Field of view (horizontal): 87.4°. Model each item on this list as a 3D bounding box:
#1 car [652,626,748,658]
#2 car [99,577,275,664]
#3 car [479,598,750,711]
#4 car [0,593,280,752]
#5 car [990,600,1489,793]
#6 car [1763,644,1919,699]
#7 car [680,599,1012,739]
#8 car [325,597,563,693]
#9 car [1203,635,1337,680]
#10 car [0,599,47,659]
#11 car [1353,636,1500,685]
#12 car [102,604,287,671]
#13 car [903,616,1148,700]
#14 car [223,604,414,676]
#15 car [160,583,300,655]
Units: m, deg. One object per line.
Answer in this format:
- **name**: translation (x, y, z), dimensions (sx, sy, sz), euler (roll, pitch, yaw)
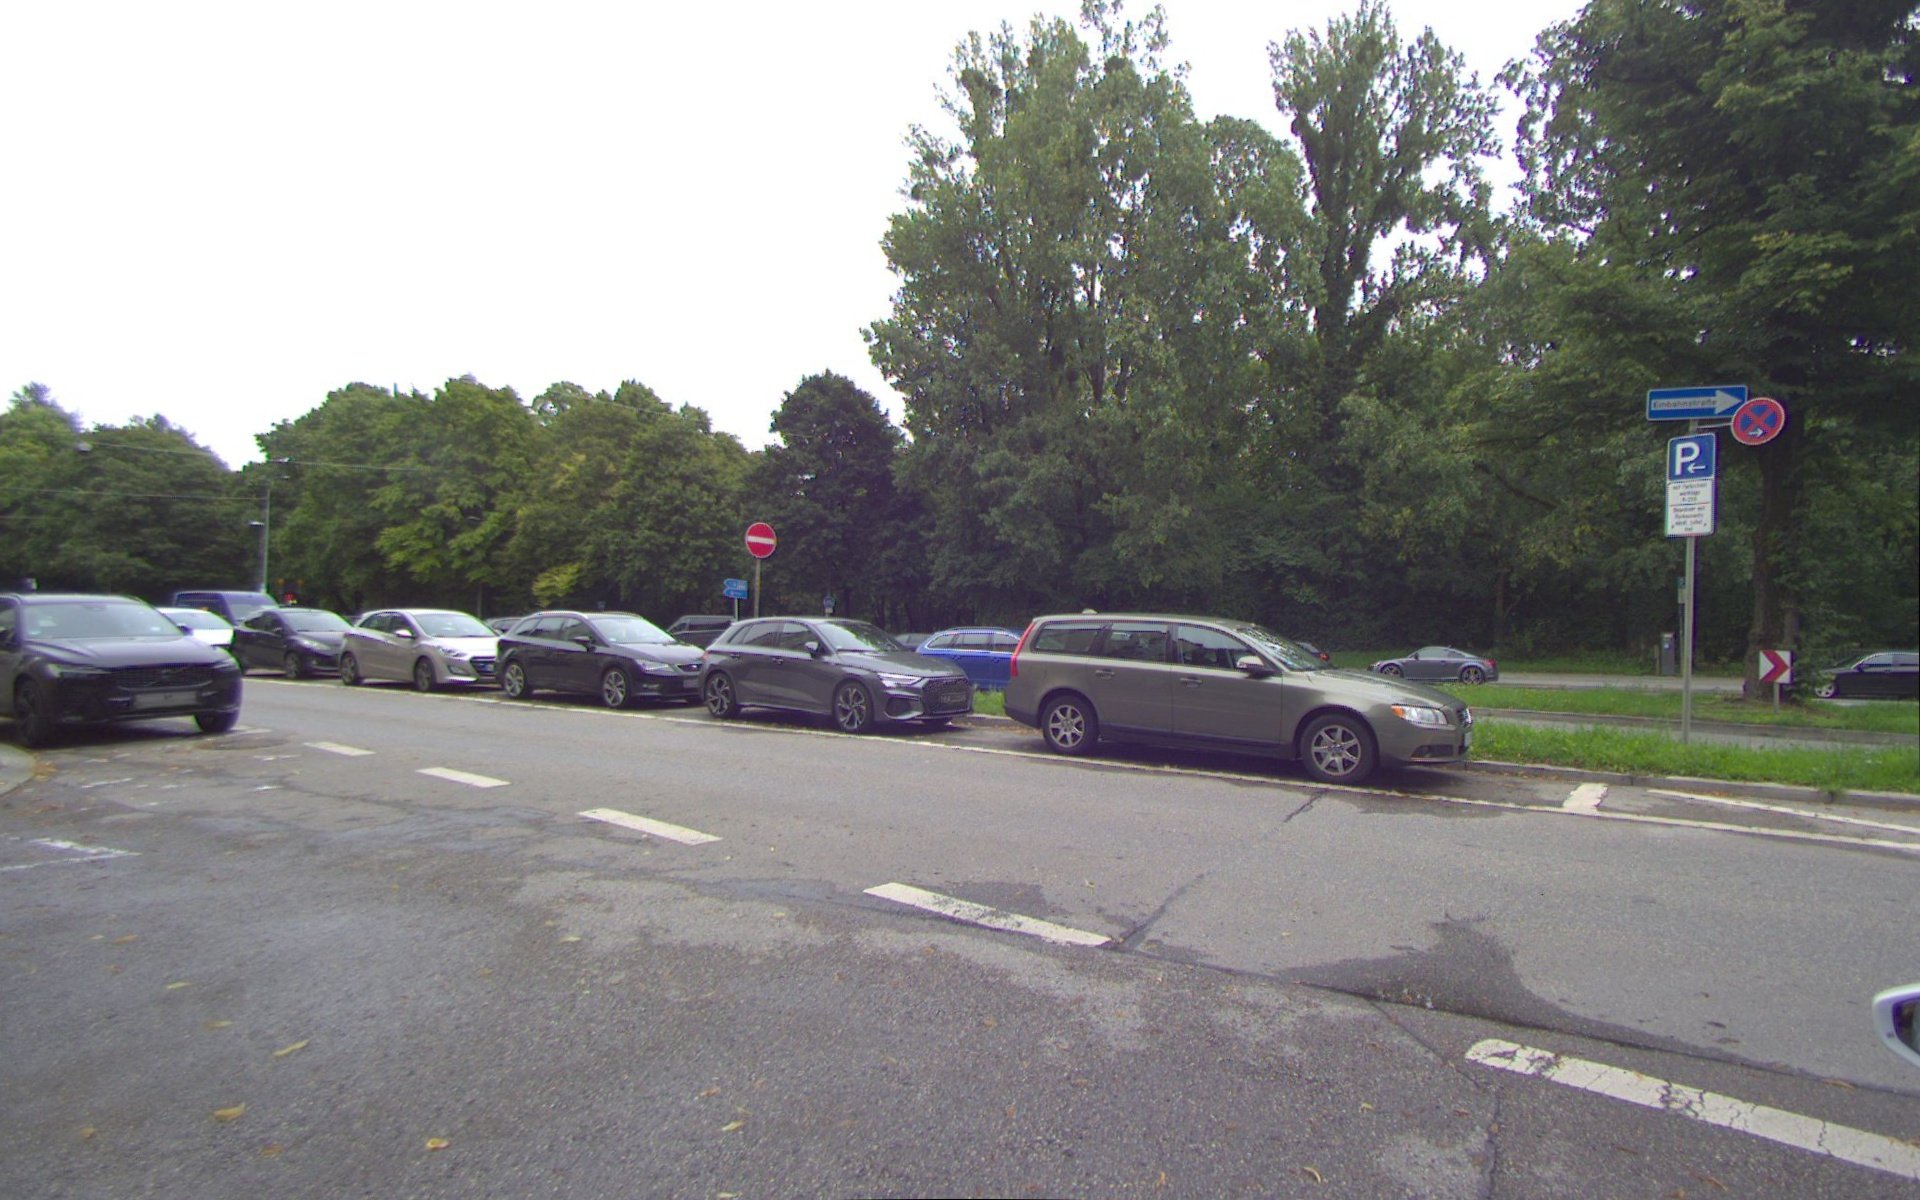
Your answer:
- **car**: translation (-12.772, 2.059, 49.336), dimensions (4.237, 1.465, 1.998), euler (1, -2, 26)
- **car**: translation (-19.414, 0.484, 25.227), dimensions (3.926, 2.040, 1.998), euler (1, -1, 27)
- **car**: translation (-5.680, 0.810, 16.403), dimensions (4.209, 1.586, 1.989), euler (1, -1, 33)
- **car**: translation (-10.465, 0.722, 12.101), dimensions (4.428, 1.586, 2.126), euler (0, 0, 31)
- **car**: translation (2.785, 0.836, 10.546), dimensions (4.693, 1.586, 1.898), euler (0, -1, 36)
- **car**: translation (26.731, 2.098, 29.686), dimensions (4.233, 1.465, 2.000), euler (1, -2, 20)
- **car**: translation (-1.611, 0.817, 13.573), dimensions (4.213, 1.586, 1.987), euler (0, -1, 36)
- **car**: translation (-9.689, 0.789, 18.816), dimensions (4.206, 1.586, 1.990), euler (1, -1, 30)
- **car**: translation (11.423, 2.084, 37.005), dimensions (4.441, 1.465, 1.998), euler (1, -2, 27)
- **car**: translation (-30.132, 0.823, 30.406), dimensions (4.997, 1.725, 2.073), euler (1, -1, 28)
- **car**: translation (15.954, 2.039, 34.436), dimensions (4.441, 1.465, 1.998), euler (1, -2, 27)
- **car**: translation (-18.813, 0.885, 24.676), dimensions (4.204, 1.475, 1.991), euler (1, -1, 28)
- **car**: translation (1.265, 1.105, 20.544), dimensions (4.657, 1.473, 1.987), euler (0, -1, 36)
- **car**: translation (-14.034, 0.836, 21.934), dimensions (4.206, 1.388, 1.764), euler (1, -1, 30)
- **car**: translation (-27.904, 0.684, 38.362), dimensions (5.748, 2.496, 2.187), euler (2, 0, 31)
